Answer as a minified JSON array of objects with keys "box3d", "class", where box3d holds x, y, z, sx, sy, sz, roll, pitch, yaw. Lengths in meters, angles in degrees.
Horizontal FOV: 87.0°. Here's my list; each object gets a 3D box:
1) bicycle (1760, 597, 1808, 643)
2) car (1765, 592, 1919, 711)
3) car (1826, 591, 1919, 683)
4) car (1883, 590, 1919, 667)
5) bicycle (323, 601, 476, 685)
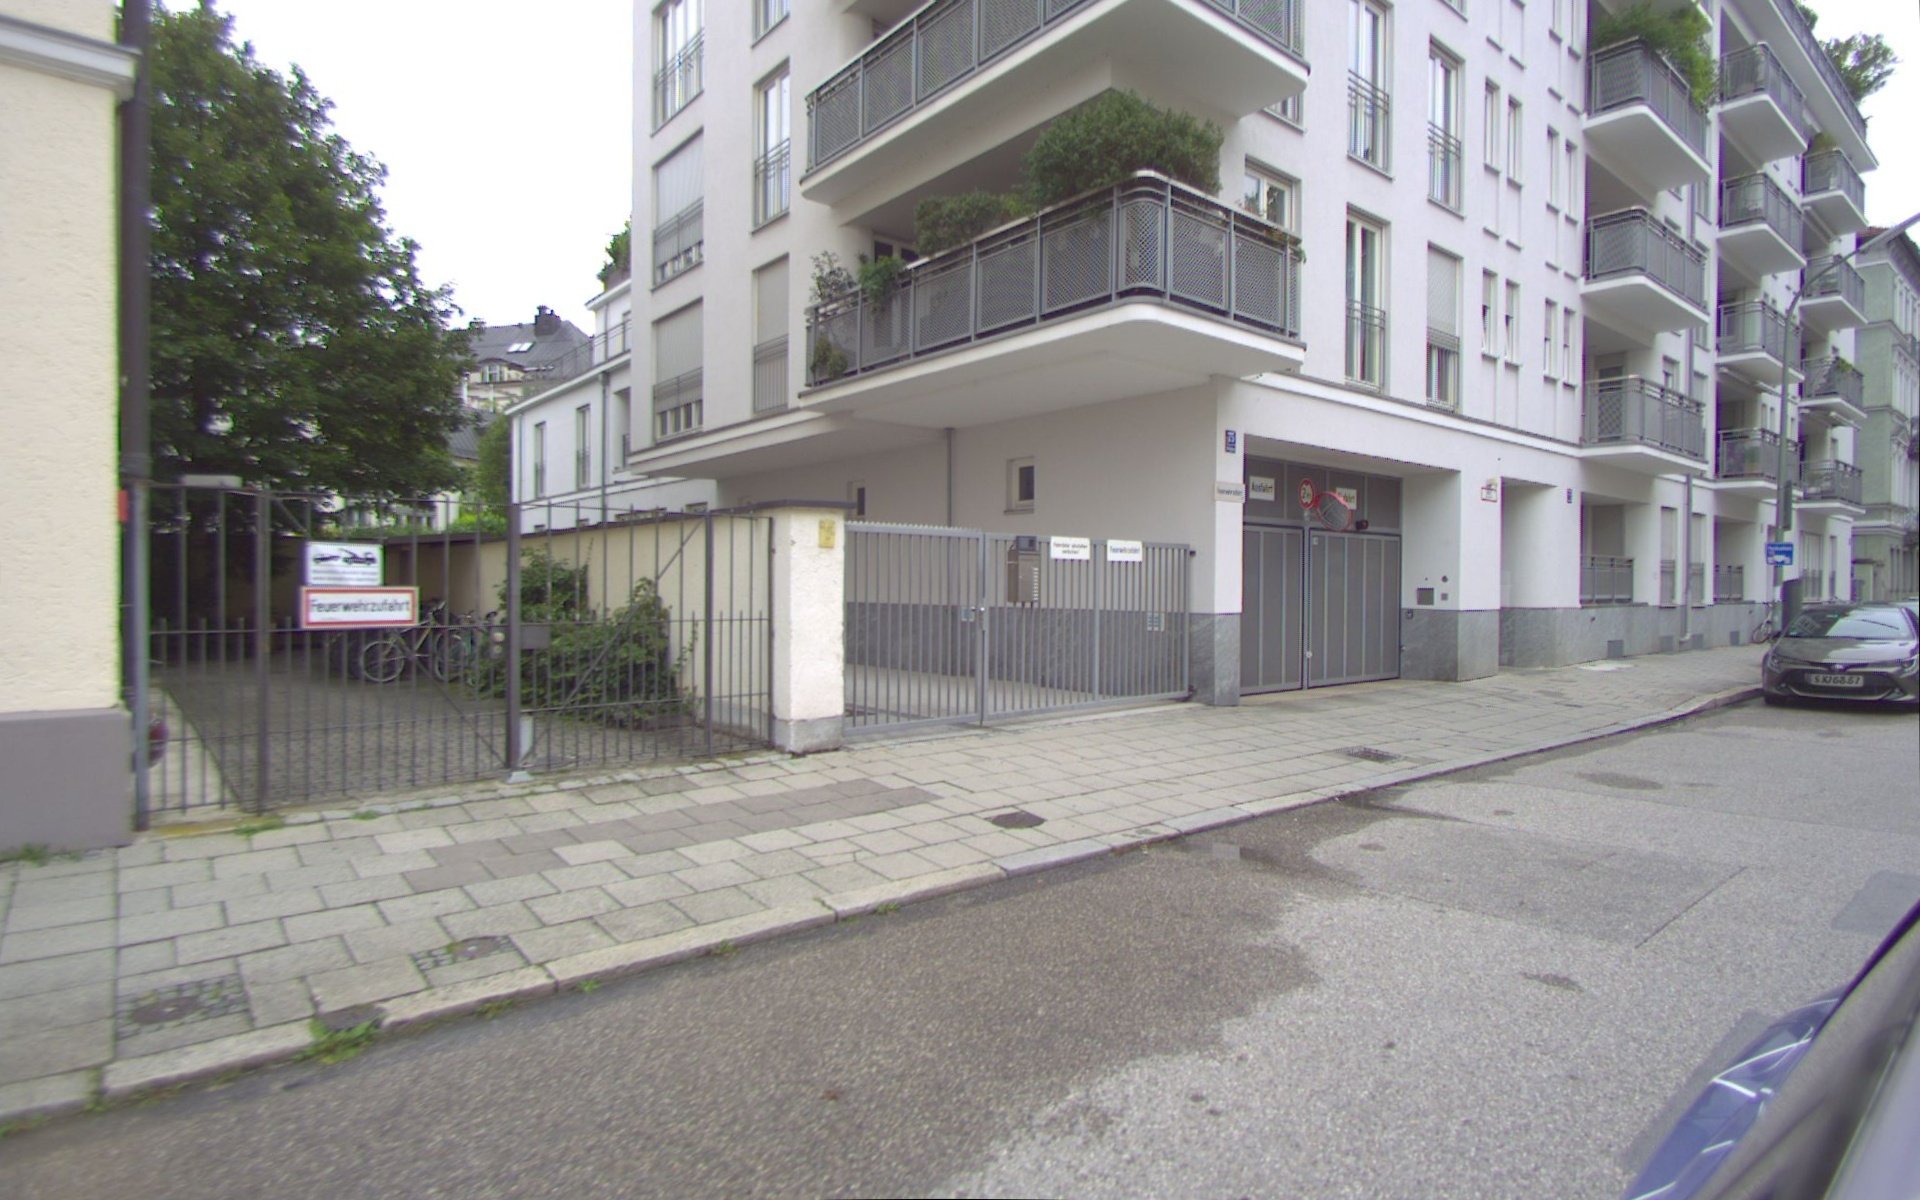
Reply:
[{"box3d":[21.251,0.504,26.080,1.778,1.111,0.570,0,3,-40],"class":"bicycle"},{"box3d":[13.126,0.662,14.606,4.146,1.494,1.773,1,0,-43],"class":"car"},{"box3d":[16.705,0.621,17.825,3.680,1.486,1.620,1,-1,-40],"class":"car"},{"box3d":[20.562,0.554,20.868,4.524,1.501,1.793,0,-1,-42],"class":"car"},{"box3d":[-8.886,0.647,16.088,1.989,1.240,0.881,0,-1,-41],"class":"bicycle"}]
